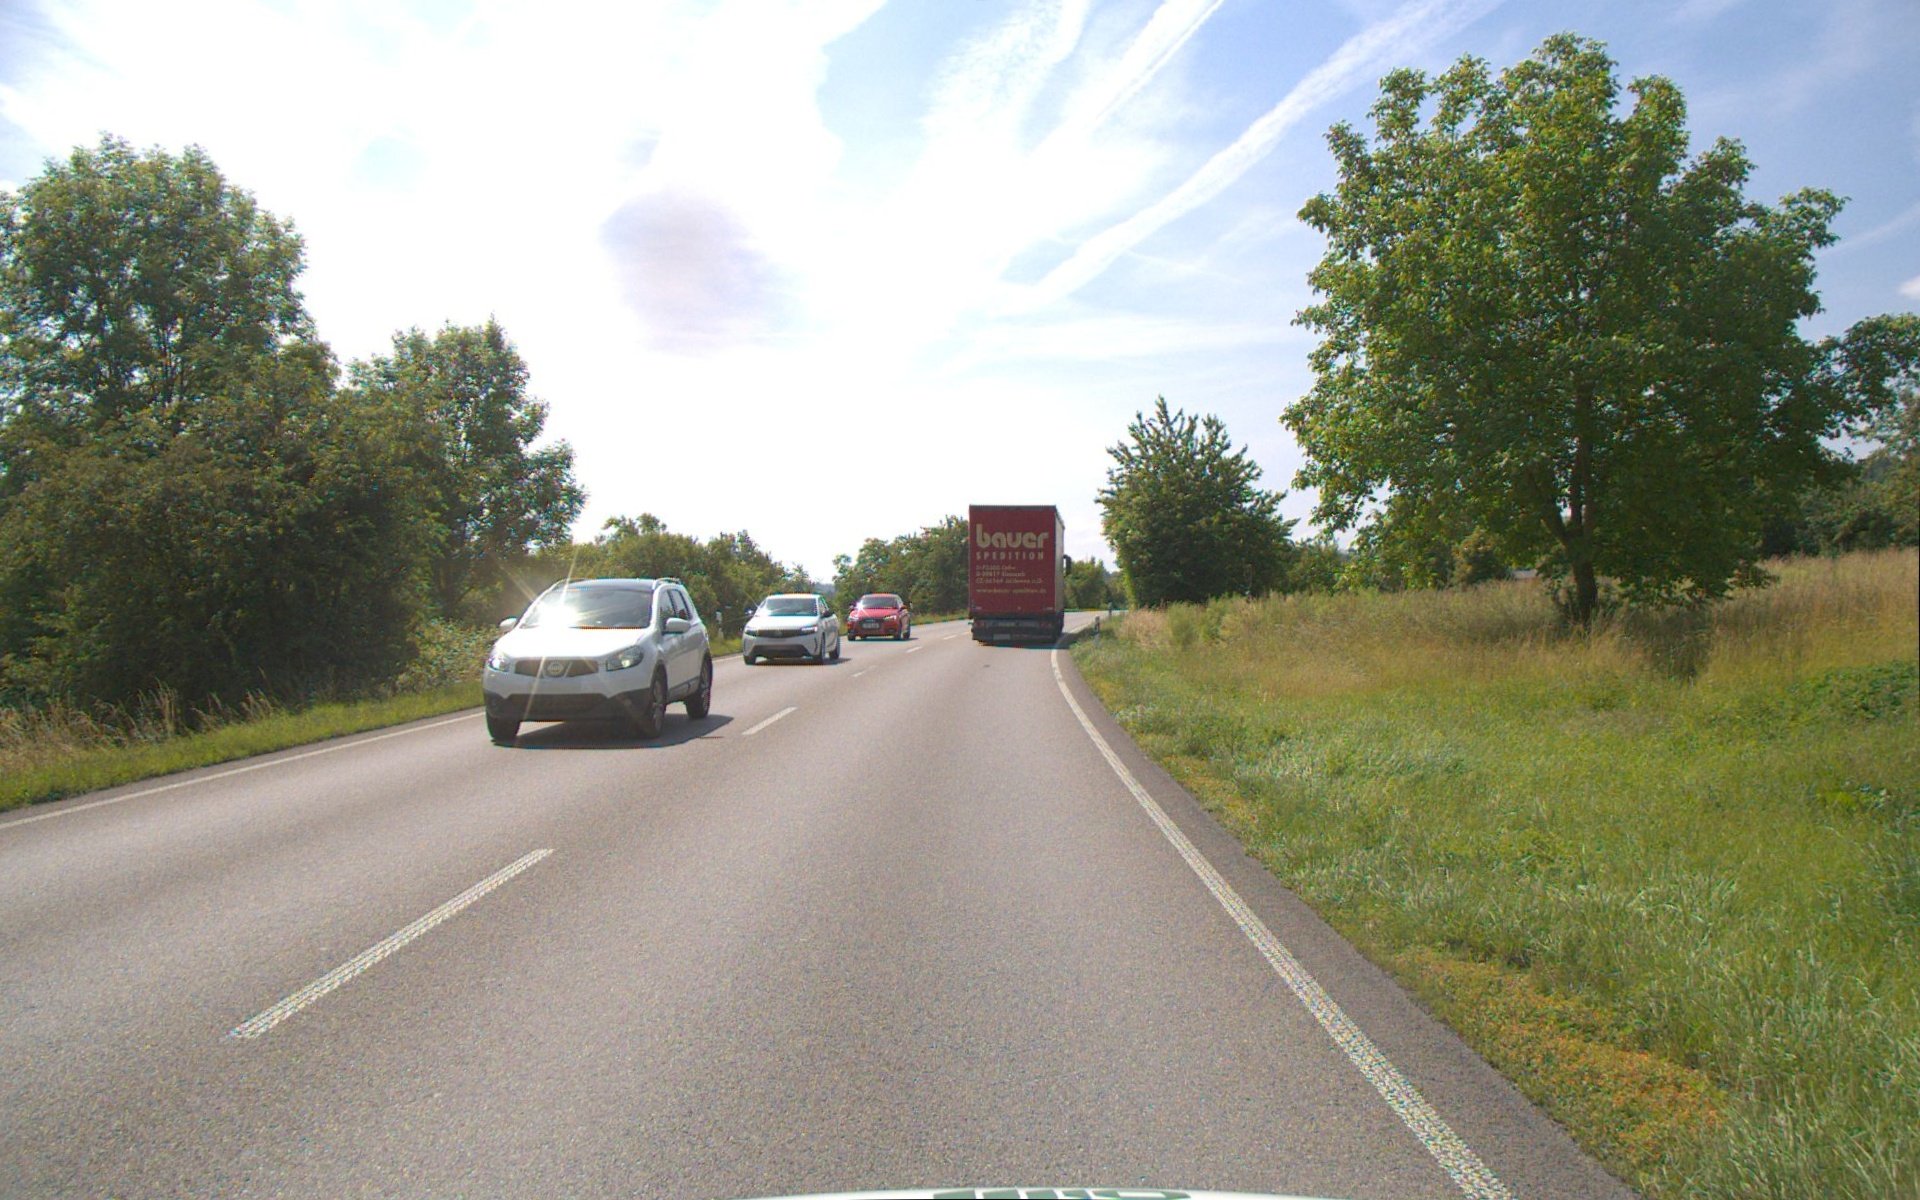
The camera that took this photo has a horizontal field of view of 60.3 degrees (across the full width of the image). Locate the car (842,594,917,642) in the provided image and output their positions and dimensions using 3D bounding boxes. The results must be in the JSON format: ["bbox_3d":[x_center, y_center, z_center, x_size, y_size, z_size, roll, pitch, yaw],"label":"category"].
[{"bbox_3d":[-2.530,0.548,53.116,1.782,1.422,4.185,-1,1,6],"label":"car"}]

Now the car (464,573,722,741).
[{"bbox_3d":[-3.922,0.527,18.421,1.795,1.645,4.363,0,1,1],"label":"car"}]

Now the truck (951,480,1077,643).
[{"bbox_3d":[1.951,-1.032,52.850,3.046,4.585,12.175,1,-1,6],"label":"truck"}]

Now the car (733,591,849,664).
[{"bbox_3d":[-3.601,0.561,35.825,1.713,1.438,3.776,-1,1,6],"label":"car"}]
